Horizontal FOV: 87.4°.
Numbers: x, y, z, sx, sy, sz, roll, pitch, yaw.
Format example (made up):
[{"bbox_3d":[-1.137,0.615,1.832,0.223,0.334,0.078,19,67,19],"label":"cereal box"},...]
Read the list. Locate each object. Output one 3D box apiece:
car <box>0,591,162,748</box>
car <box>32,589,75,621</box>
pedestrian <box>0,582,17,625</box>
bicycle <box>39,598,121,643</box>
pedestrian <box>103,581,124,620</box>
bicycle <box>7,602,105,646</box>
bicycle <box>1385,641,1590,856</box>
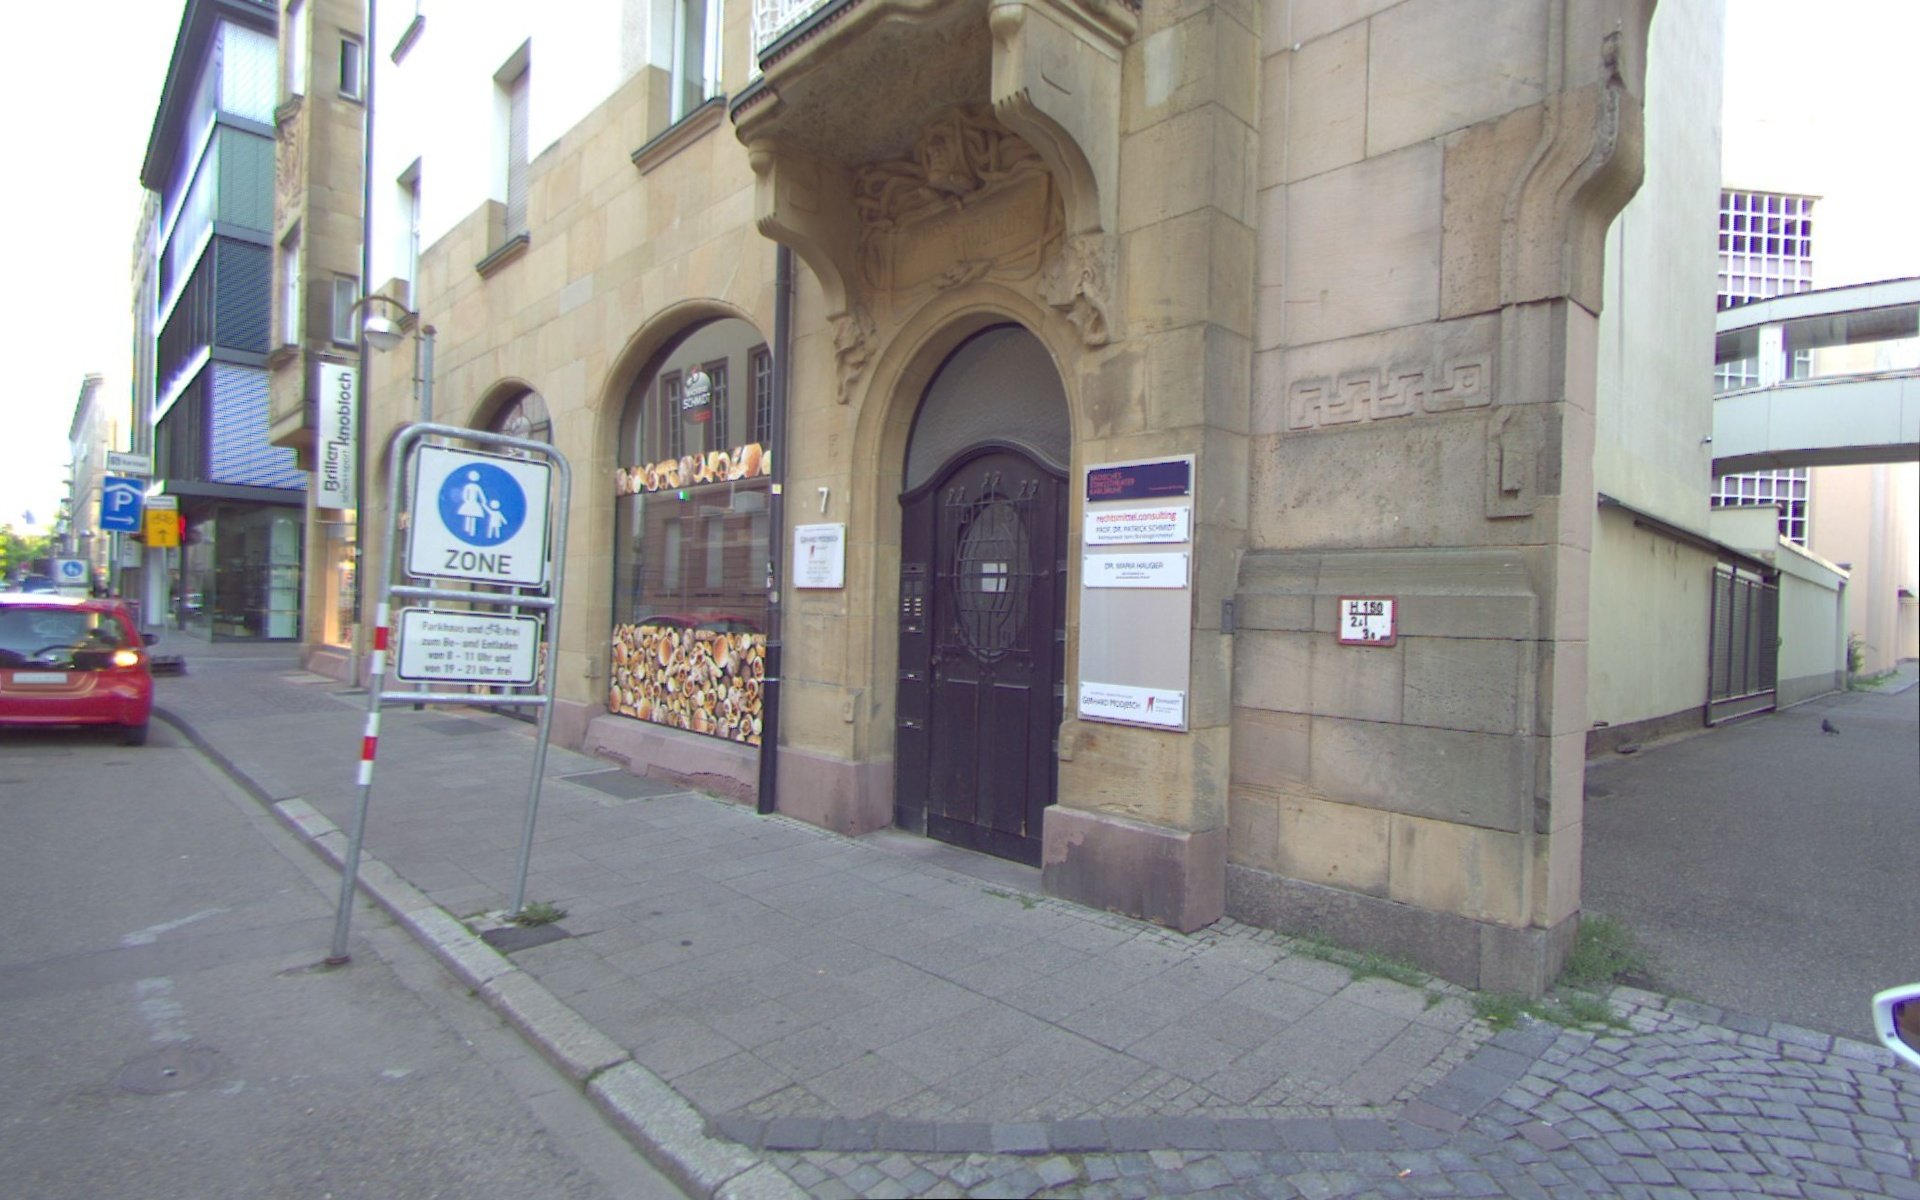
[{"bbox_3d":[-9.790,0.669,10.787,1.627,1.460,3.117,5,-3,-42],"label":"car"},{"bbox_3d":[-42.069,0.202,46.581,1.417,1.436,3.845,0,0,-43],"label":"car"},{"bbox_3d":[-38.170,0.137,40.008,0.807,1.693,0.918,2,-1,-45],"label":"pedestrian"},{"bbox_3d":[-22.777,0.509,26.026,1.596,1.133,0.612,0,0,-43],"label":"bicycle"},{"bbox_3d":[-37.360,0.026,44.330,0.666,1.693,0.754,2,-1,-42],"label":"pedestrian"},{"bbox_3d":[-24.189,0.628,26.906,1.940,1.145,0.612,0,0,-43],"label":"bicycle"},{"bbox_3d":[3.258,0.820,6.126,1.744,1.094,0.589,1,0,-44],"label":"bicycle"}]
